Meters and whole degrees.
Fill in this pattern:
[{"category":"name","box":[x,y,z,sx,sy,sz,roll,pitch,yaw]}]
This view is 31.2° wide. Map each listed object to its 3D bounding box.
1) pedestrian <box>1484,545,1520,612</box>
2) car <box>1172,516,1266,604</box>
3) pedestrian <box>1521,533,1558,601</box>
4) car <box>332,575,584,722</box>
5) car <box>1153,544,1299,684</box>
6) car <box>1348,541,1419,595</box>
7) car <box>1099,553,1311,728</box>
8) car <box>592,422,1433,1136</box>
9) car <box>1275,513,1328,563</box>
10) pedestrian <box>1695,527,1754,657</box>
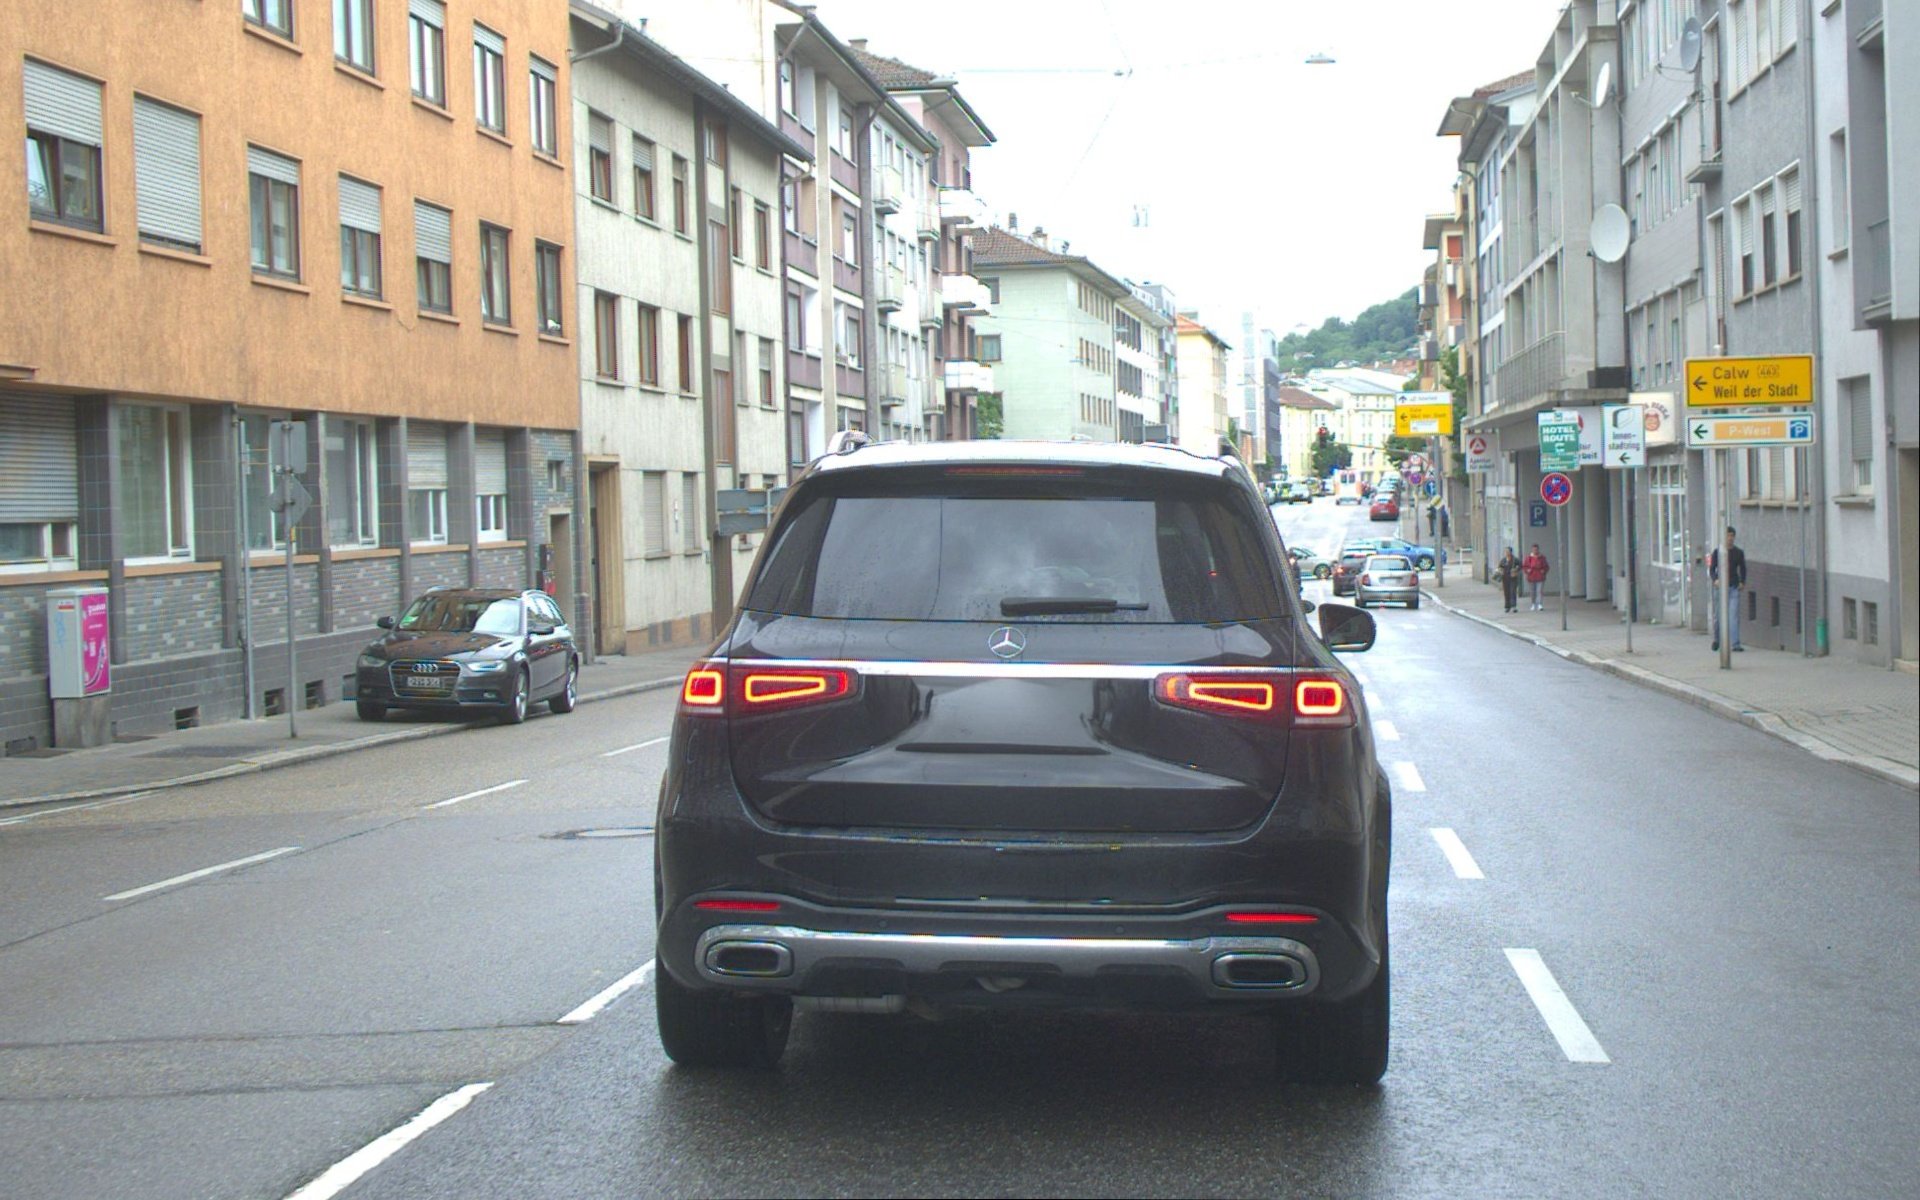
[{"category":"pedestrian","box":[12.736,-0.510,80.772,0.821,1.560,0.899,0,1,8]},{"category":"car","box":[6.217,-0.976,82.092,1.994,2.007,3.999,0,1,8]},{"category":"pedestrian","box":[13.589,-0.775,80.650,0.821,1.560,0.899,0,1,8]},{"category":"car","box":[-5.570,0.502,38.713,1.891,1.453,4.549,0,2,4]},{"category":"car","box":[4.109,0.180,52.568,1.994,2.007,3.999,0,1,8]},{"category":"car","box":[11.665,-0.896,94.882,1.734,1.383,4.582,0,2,4]},{"category":"car","box":[2.313,0.333,33.040,1.893,1.505,4.173,1,2,3]},{"category":"car","box":[0.292,0.378,10.832,2.076,1.759,4.611,0,2,4]},{"category":"car","box":[13.895,-2.533,139.874,1.994,2.007,3.999,0,1,8]},{"category":"pedestrian","box":[10.651,-0.117,47.910,0.656,1.746,0.741,-4,1,10]}]
